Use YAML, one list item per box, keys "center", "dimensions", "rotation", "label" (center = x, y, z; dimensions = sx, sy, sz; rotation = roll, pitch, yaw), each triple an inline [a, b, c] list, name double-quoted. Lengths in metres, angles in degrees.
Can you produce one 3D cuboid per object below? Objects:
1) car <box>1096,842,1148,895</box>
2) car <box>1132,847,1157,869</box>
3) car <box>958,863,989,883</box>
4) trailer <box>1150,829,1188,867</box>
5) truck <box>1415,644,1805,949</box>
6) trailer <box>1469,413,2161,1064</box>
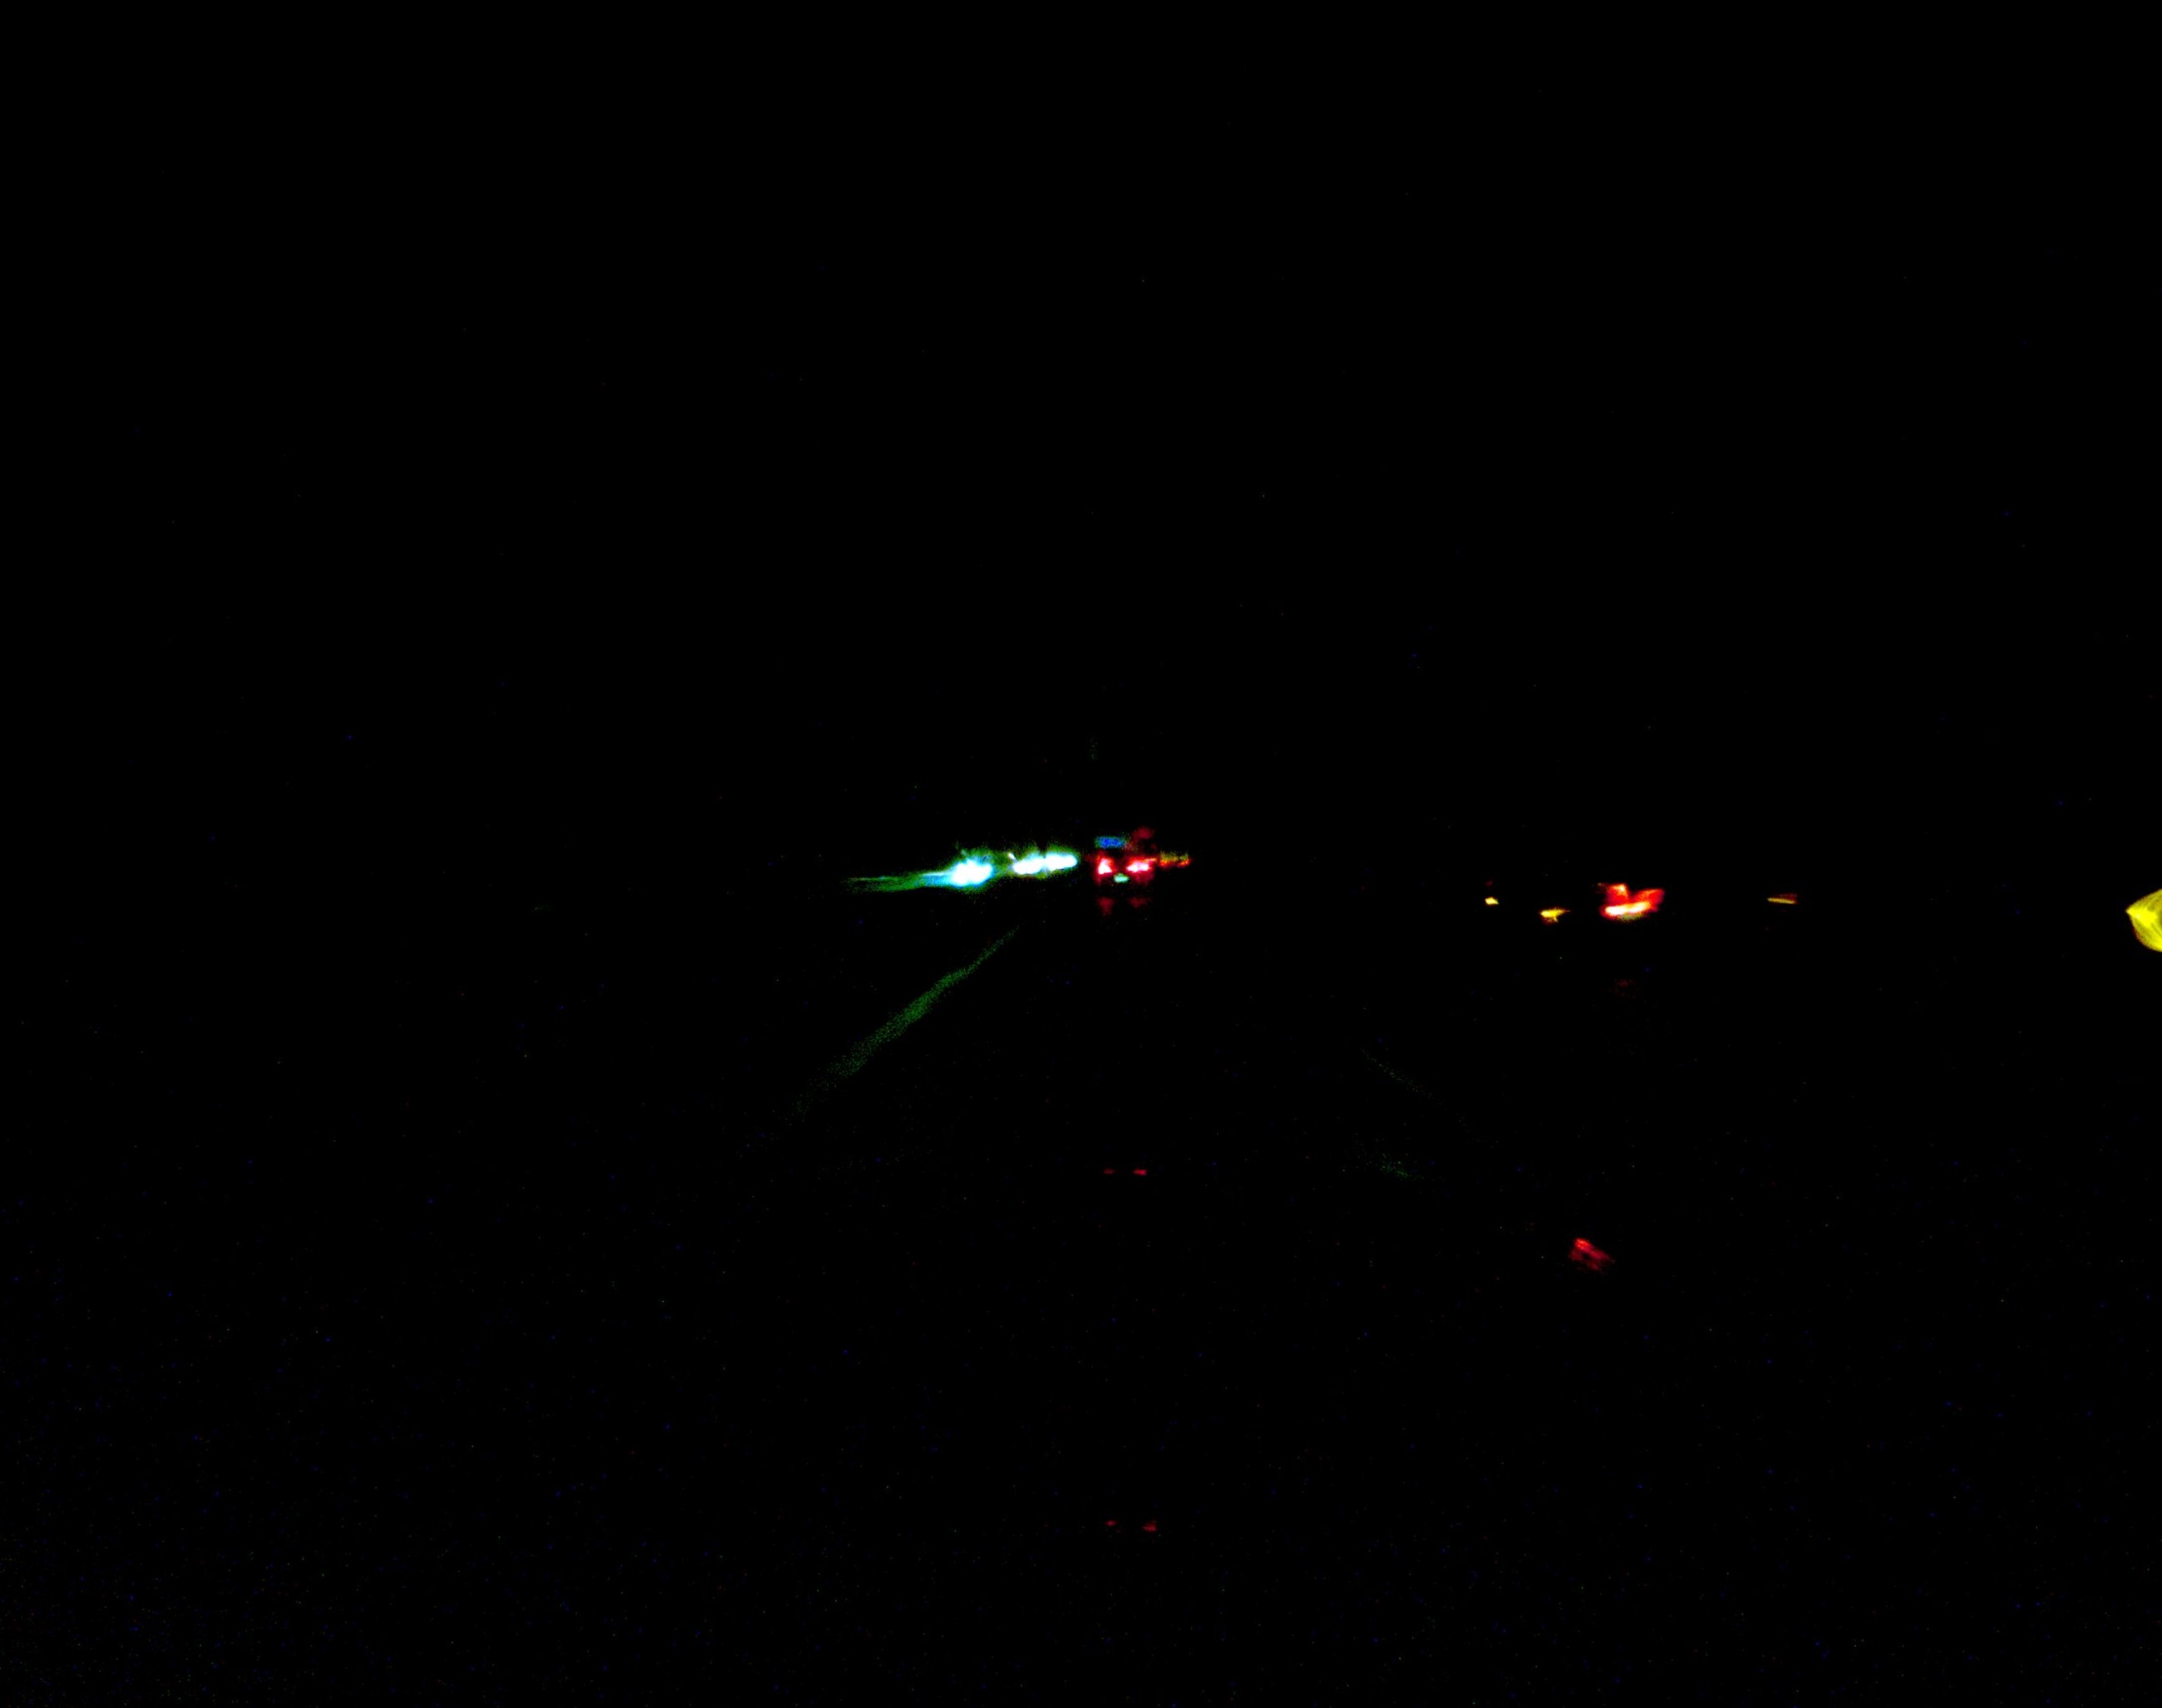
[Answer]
- center: [1.666, 0.577, 33.542]
  dimensions: [1.986, 2.014, 4.002]
  rotation: [-1, -1, 2]
  label: "car"
- center: [6.297, 0.436, 81.575]
  dimensions: [1.988, 2.013, 3.997]
  rotation: [-3, -1, -2]
  label: "car"
- center: [-9.857, 1.703, 75.178]
  dimensions: [1.986, 1.663, 4.811]
  rotation: [-3, 0, 2]
  label: "car"
- center: [10.508, -0.560, 98.539]
  dimensions: [3.031, 4.108, 13.827]
  rotation: [-3, -1, 0]
  label: "trailer"
- center: [8.593, -0.792, 14.350]
  dimensions: [2.892, 4.108, 6.033]
  rotation: [-3, 0, 2]
  label: "truck"
- center: [8.374, -0.770, 7.532]
  dimensions: [2.892, 4.108, 14.493]
  rotation: [-3, 0, 2]
  label: "trailer"
